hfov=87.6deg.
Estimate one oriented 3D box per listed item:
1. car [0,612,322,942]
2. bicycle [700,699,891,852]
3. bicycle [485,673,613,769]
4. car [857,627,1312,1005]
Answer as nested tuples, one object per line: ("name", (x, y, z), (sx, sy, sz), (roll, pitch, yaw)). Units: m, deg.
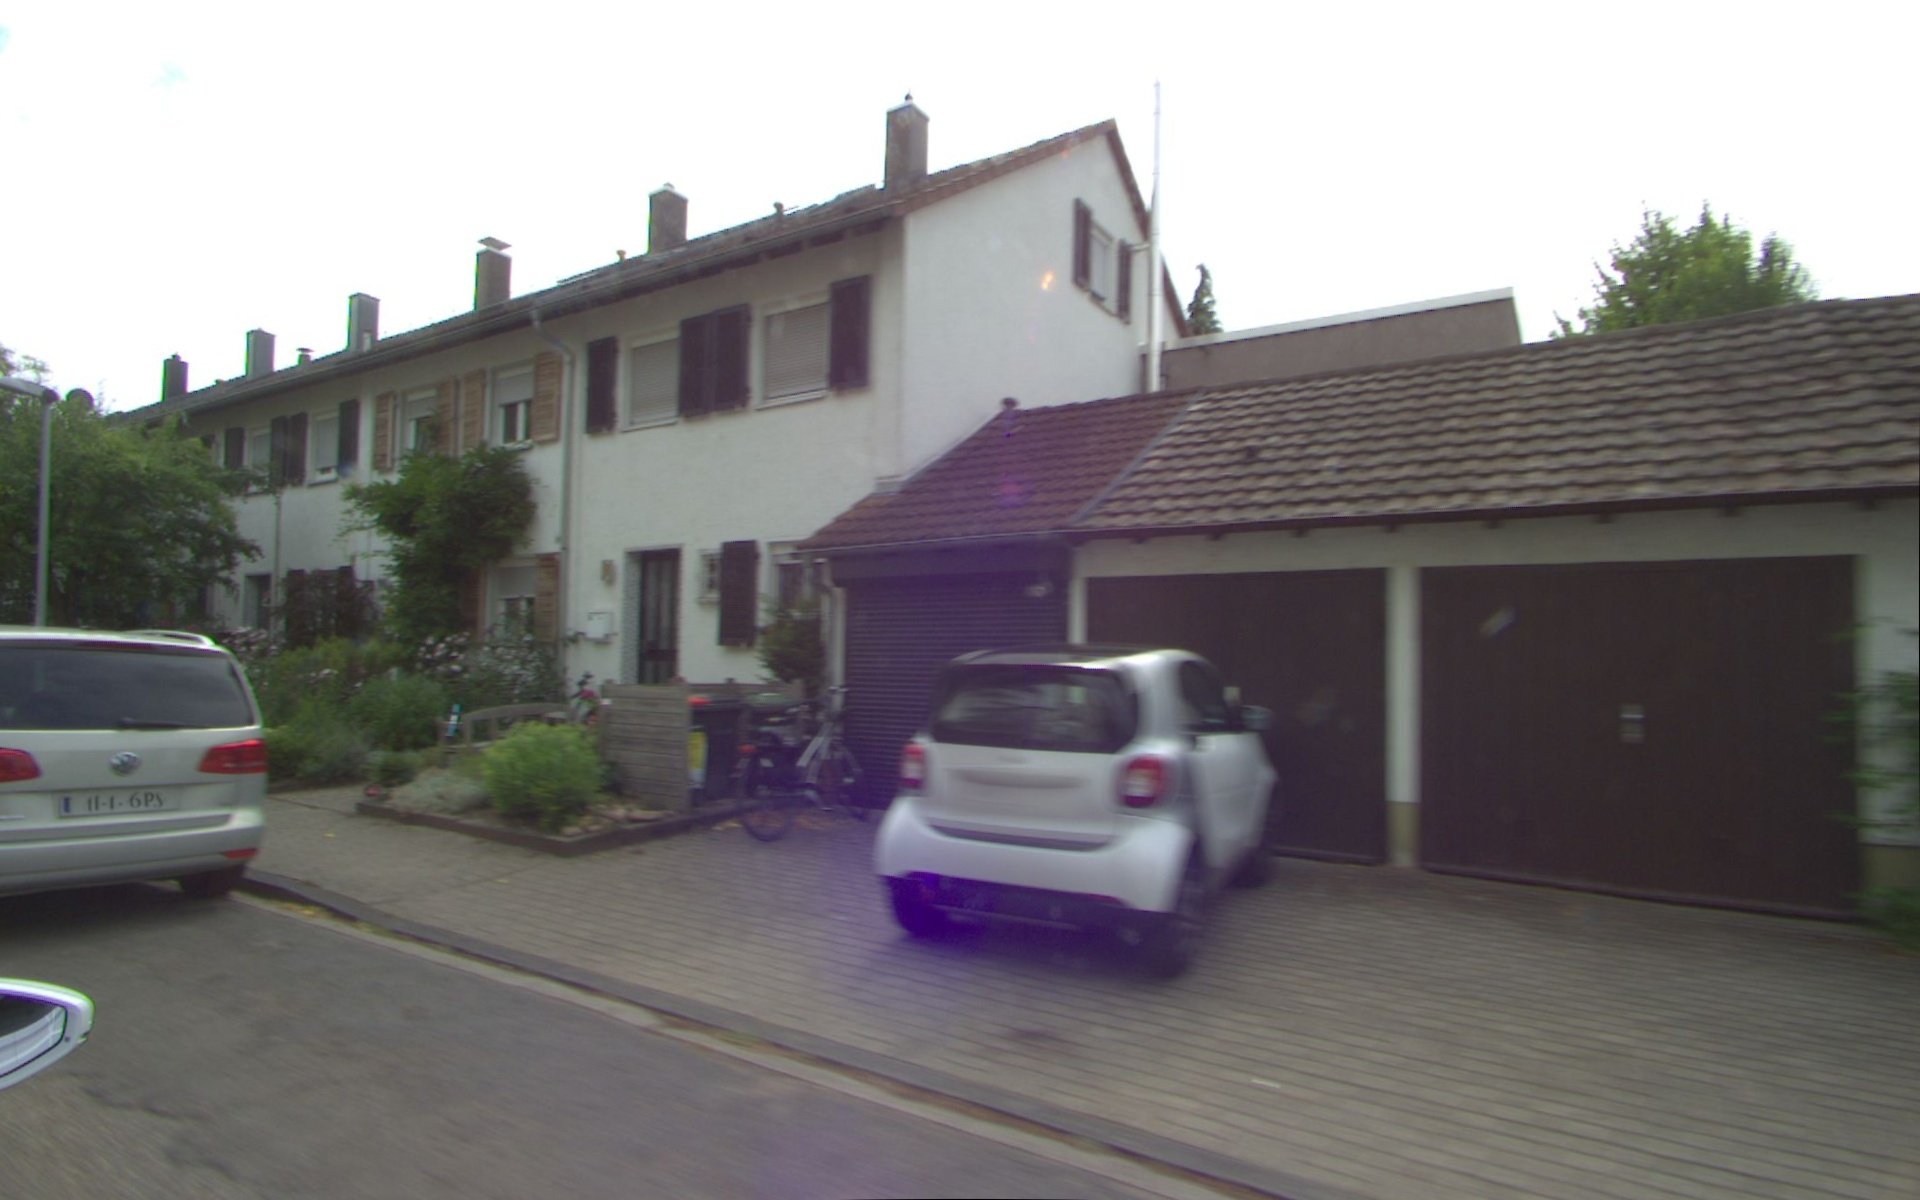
("car", (-6.089, 0.921, 6.346), (3.942, 1.600, 1.825), (0, -5, 32))
("bicycle", (-1.291, 1.368, 8.172), (0.606, 1.002, 1.622), (0, -2, 32))
("bicycle", (-4.558, 1.320, 11.189), (0.425, 0.908, 1.373), (0, 0, 27))
("car", (0.913, 0.968, 5.917), (1.715, 1.589, 2.813), (0, -1, 30))
